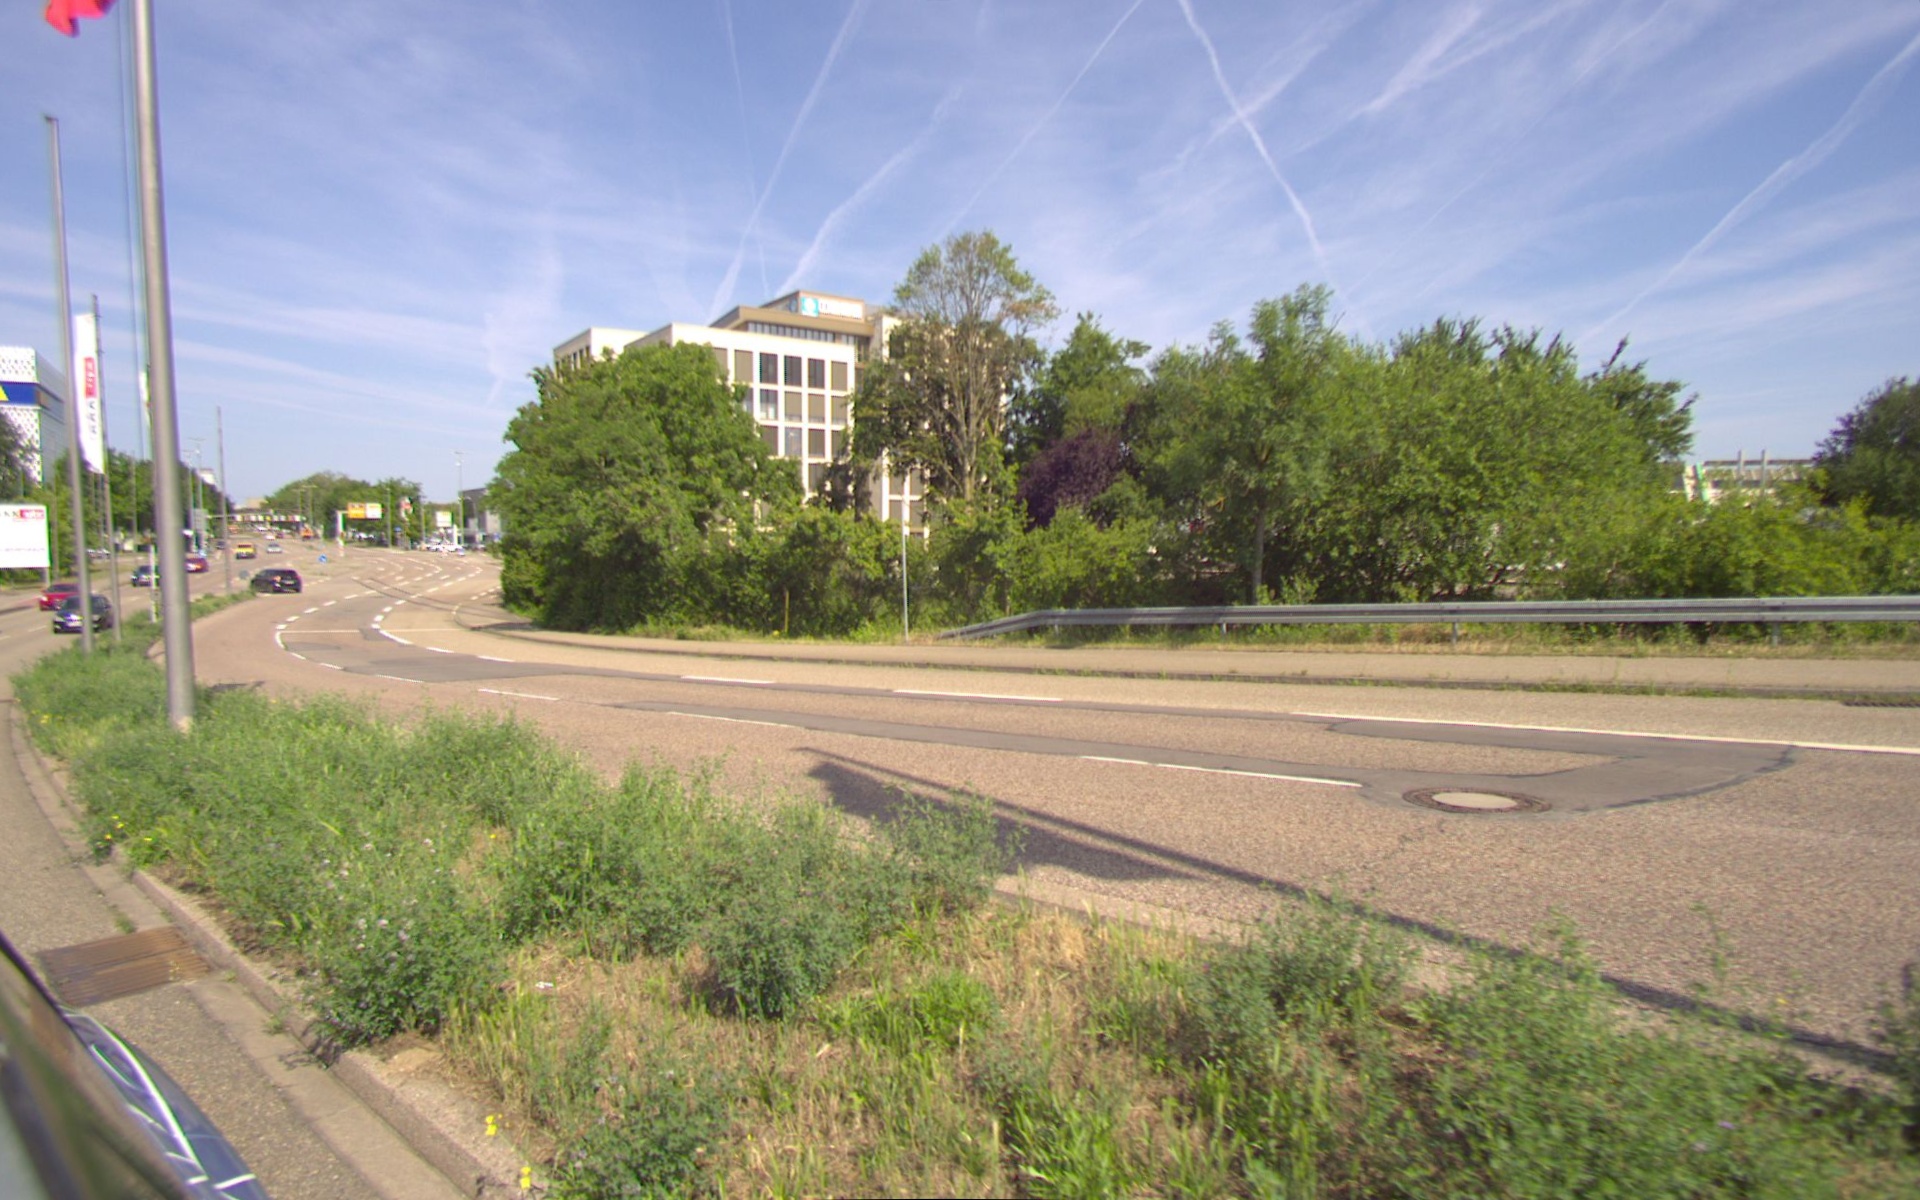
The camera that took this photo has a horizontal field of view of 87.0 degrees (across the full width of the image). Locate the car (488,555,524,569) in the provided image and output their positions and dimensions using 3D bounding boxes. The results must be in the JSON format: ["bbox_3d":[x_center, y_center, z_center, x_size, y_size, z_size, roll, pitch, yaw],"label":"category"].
[{"bbox_3d":[-65.196,-5.473,145.408,4.323,1.861,1.817,0,3,-12],"label":"car"}]

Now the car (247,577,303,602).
[{"bbox_3d":[-46.835,-0.729,69.175,4.134,1.540,1.841,2,3,35],"label":"car"}]

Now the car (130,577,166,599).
[{"bbox_3d":[-62.848,-0.943,78.369,1.796,1.485,4.012,-1,4,-33],"label":"car"}]

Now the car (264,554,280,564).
[{"bbox_3d":[-100.563,-5.995,148.000,1.796,1.485,4.012,-1,4,-33],"label":"car"}]

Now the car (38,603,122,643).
[{"bbox_3d":[-36.707,0.929,42.313,1.819,1.429,4.013,0,2,-29],"label":"car"}]

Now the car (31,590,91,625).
[{"bbox_3d":[-49.056,0.376,55.297,1.748,1.670,4.156,-2,3,-32],"label":"car"}]

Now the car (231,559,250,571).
[{"bbox_3d":[-90.004,-4.376,126.594,1.796,1.485,4.012,-1,4,-33],"label":"car"}]

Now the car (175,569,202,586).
[{"bbox_3d":[-73.436,-2.144,96.387,1.796,1.485,4.012,-1,4,-33],"label":"car"}]
